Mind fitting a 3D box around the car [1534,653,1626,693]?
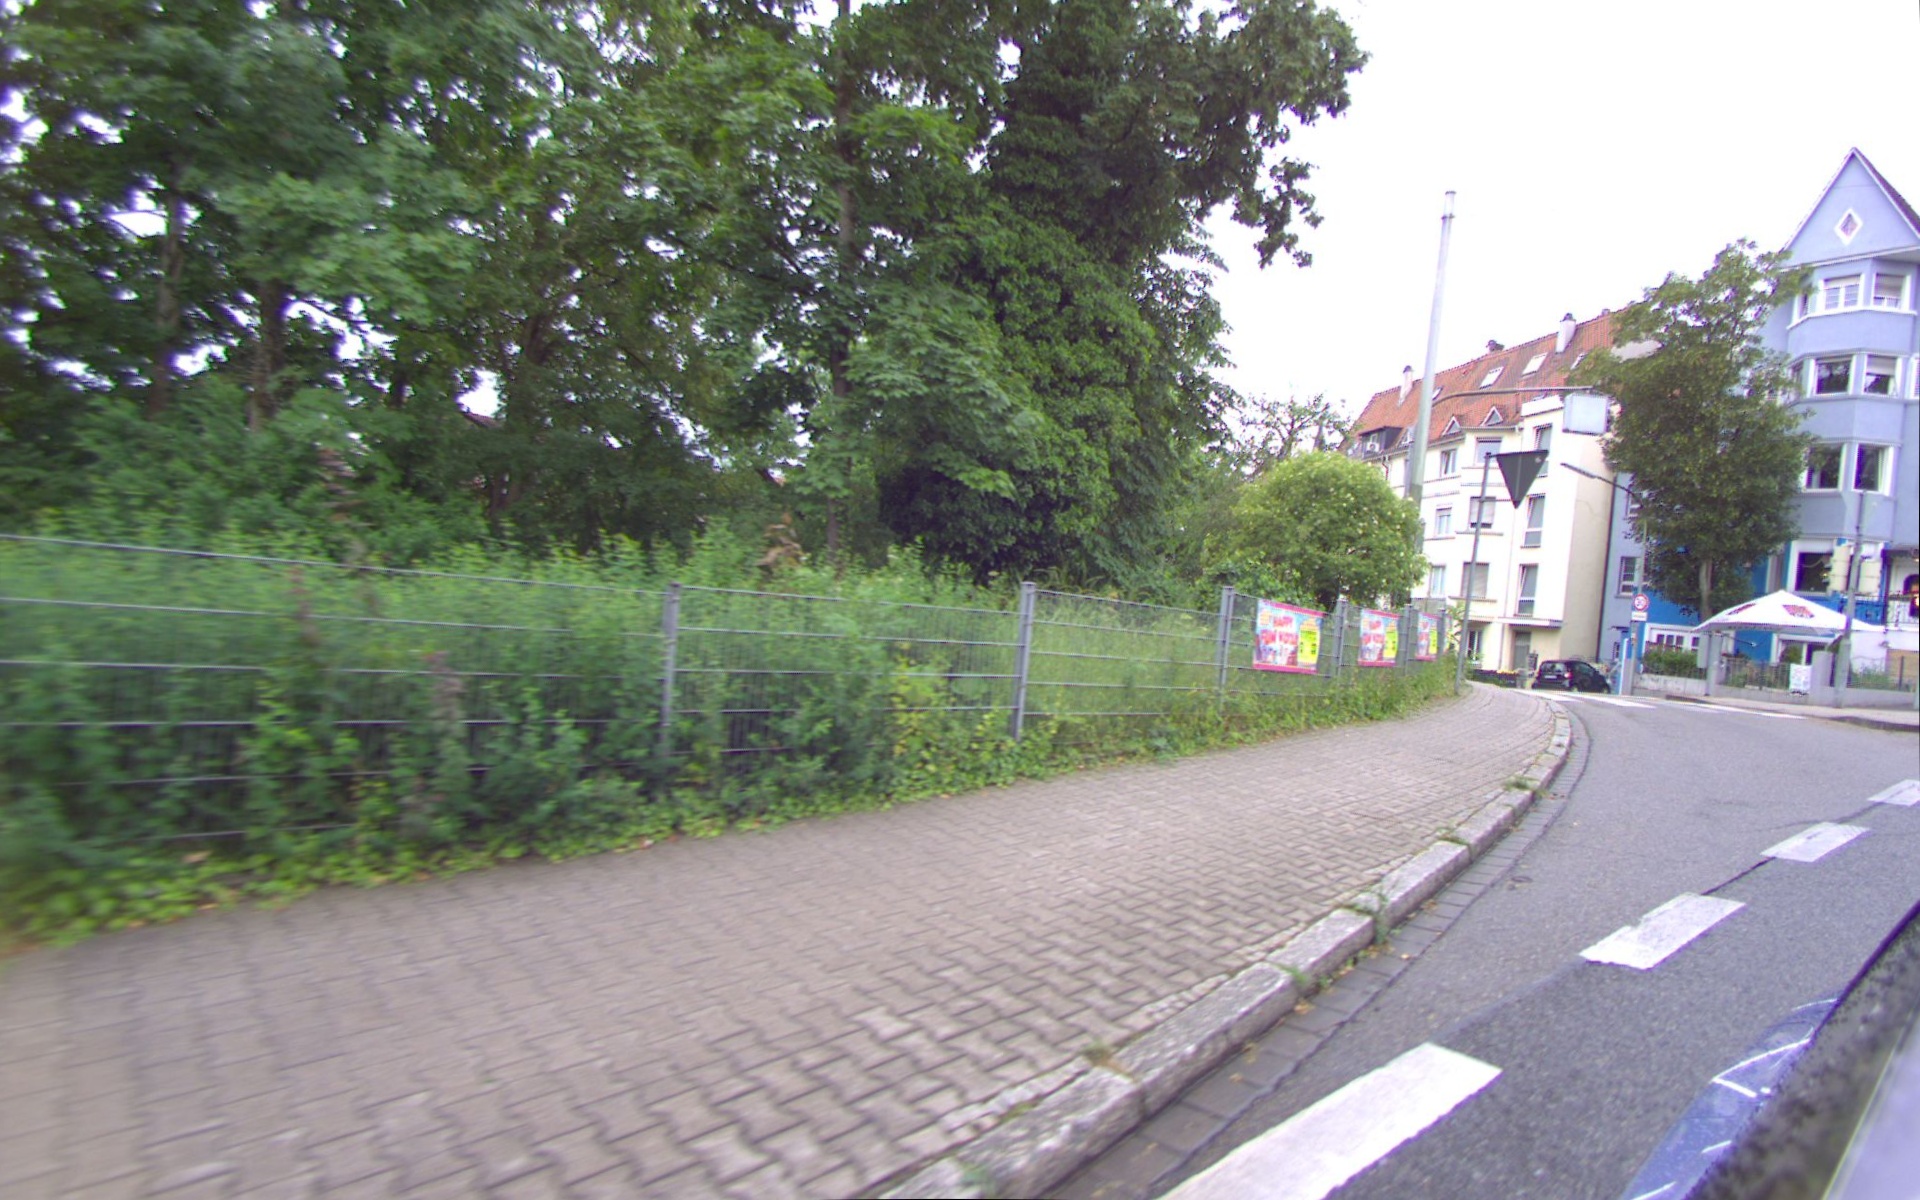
[{"bbox_3d":[24.658,2.888,40.230,3.077,1.518,1.642,3,-4,-24],"label":"car"}]
